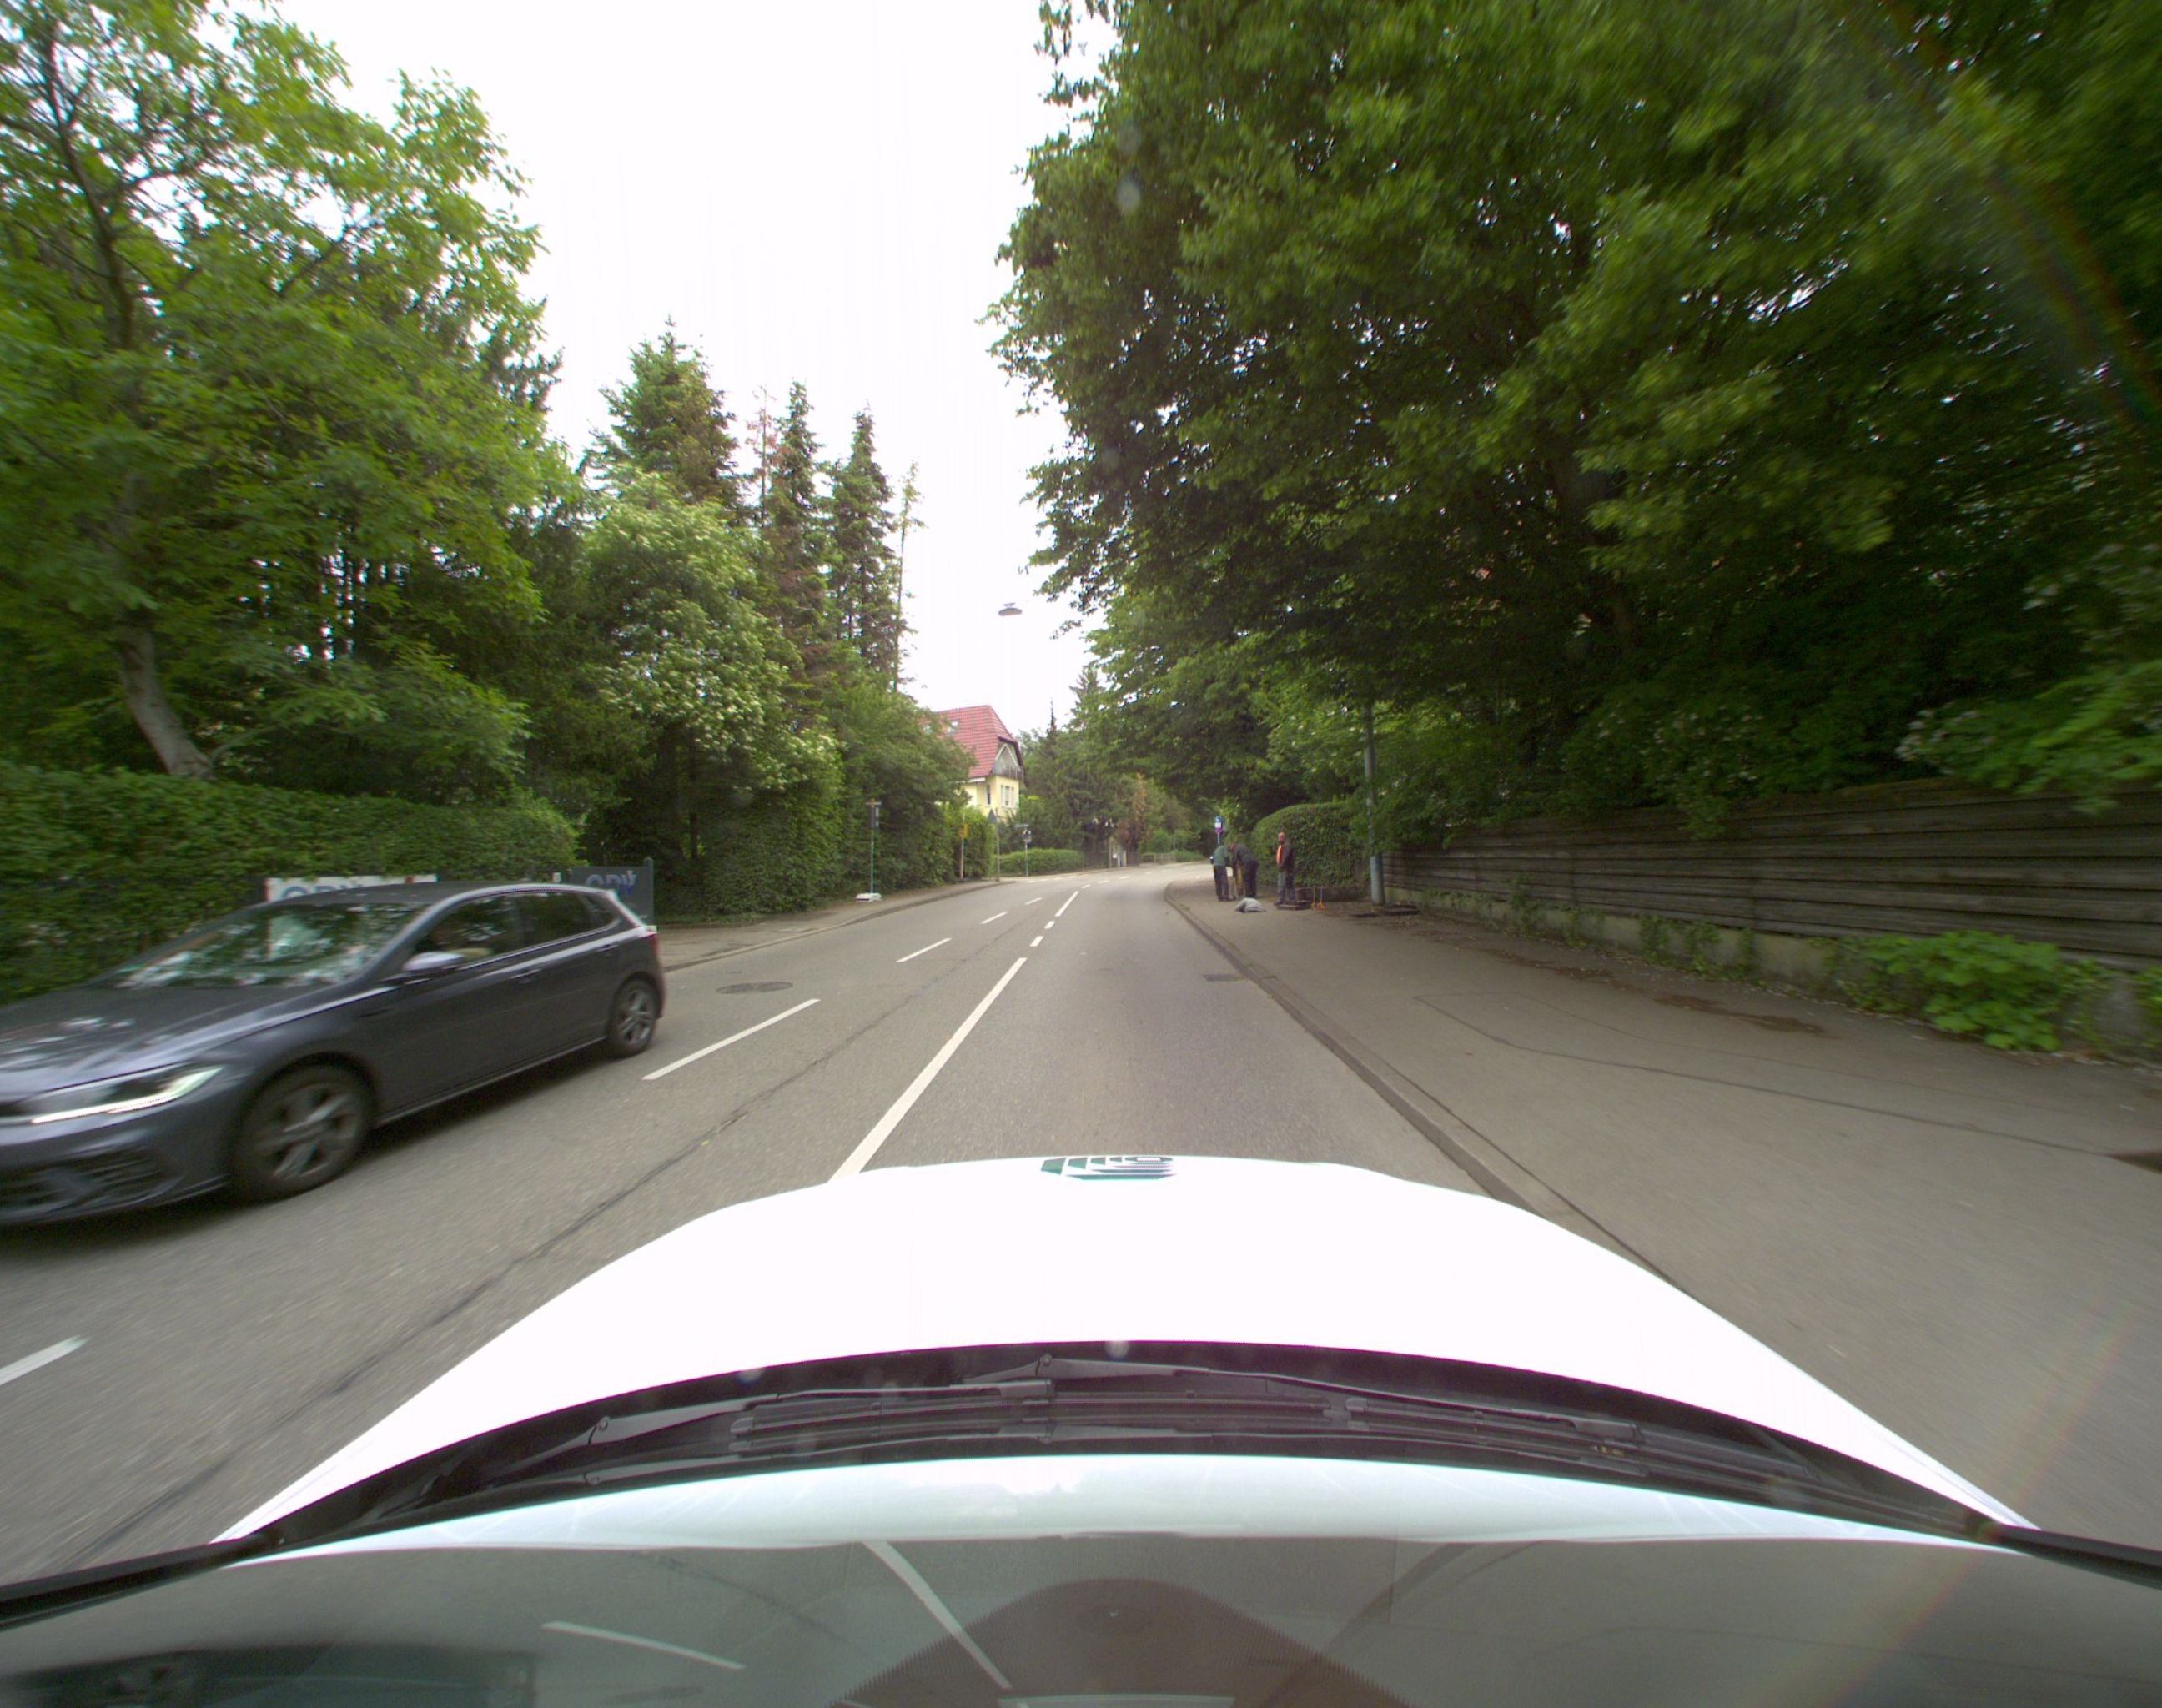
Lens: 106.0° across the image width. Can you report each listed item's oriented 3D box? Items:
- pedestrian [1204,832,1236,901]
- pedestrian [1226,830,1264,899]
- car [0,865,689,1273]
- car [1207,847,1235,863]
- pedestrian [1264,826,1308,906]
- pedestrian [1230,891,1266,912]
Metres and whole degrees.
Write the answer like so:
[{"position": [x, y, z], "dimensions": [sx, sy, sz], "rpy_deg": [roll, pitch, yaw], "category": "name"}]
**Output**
[{"position": [3.731, 0.336, 21.917], "dimensions": [0.594, 1.807, 0.522], "rpy_deg": [-2, 0, 43], "category": "pedestrian"}, {"position": [4.432, 0.276, 21.993], "dimensions": [0.694, 1.807, 0.665], "rpy_deg": [-2, 0, -39], "category": "pedestrian"}, {"position": [-4.393, 0.868, 5.146], "dimensions": [1.674, 1.471, 4.021], "rpy_deg": [-2, 0, 3], "category": "car"}, {"position": [13.553, 0.083, 78.663], "dimensions": [1.741, 1.439, 4.116], "rpy_deg": [-2, 0, 23], "category": "car"}, {"position": [4.774, 0.273, 19.038], "dimensions": [0.804, 1.807, 0.741], "rpy_deg": [-2, 0, 1], "category": "pedestrian"}, {"position": [3.778, 1.072, 18.465], "dimensions": [0.670, 0.393, 0.741], "rpy_deg": [-2, 0, 1], "category": "pedestrian"}]
